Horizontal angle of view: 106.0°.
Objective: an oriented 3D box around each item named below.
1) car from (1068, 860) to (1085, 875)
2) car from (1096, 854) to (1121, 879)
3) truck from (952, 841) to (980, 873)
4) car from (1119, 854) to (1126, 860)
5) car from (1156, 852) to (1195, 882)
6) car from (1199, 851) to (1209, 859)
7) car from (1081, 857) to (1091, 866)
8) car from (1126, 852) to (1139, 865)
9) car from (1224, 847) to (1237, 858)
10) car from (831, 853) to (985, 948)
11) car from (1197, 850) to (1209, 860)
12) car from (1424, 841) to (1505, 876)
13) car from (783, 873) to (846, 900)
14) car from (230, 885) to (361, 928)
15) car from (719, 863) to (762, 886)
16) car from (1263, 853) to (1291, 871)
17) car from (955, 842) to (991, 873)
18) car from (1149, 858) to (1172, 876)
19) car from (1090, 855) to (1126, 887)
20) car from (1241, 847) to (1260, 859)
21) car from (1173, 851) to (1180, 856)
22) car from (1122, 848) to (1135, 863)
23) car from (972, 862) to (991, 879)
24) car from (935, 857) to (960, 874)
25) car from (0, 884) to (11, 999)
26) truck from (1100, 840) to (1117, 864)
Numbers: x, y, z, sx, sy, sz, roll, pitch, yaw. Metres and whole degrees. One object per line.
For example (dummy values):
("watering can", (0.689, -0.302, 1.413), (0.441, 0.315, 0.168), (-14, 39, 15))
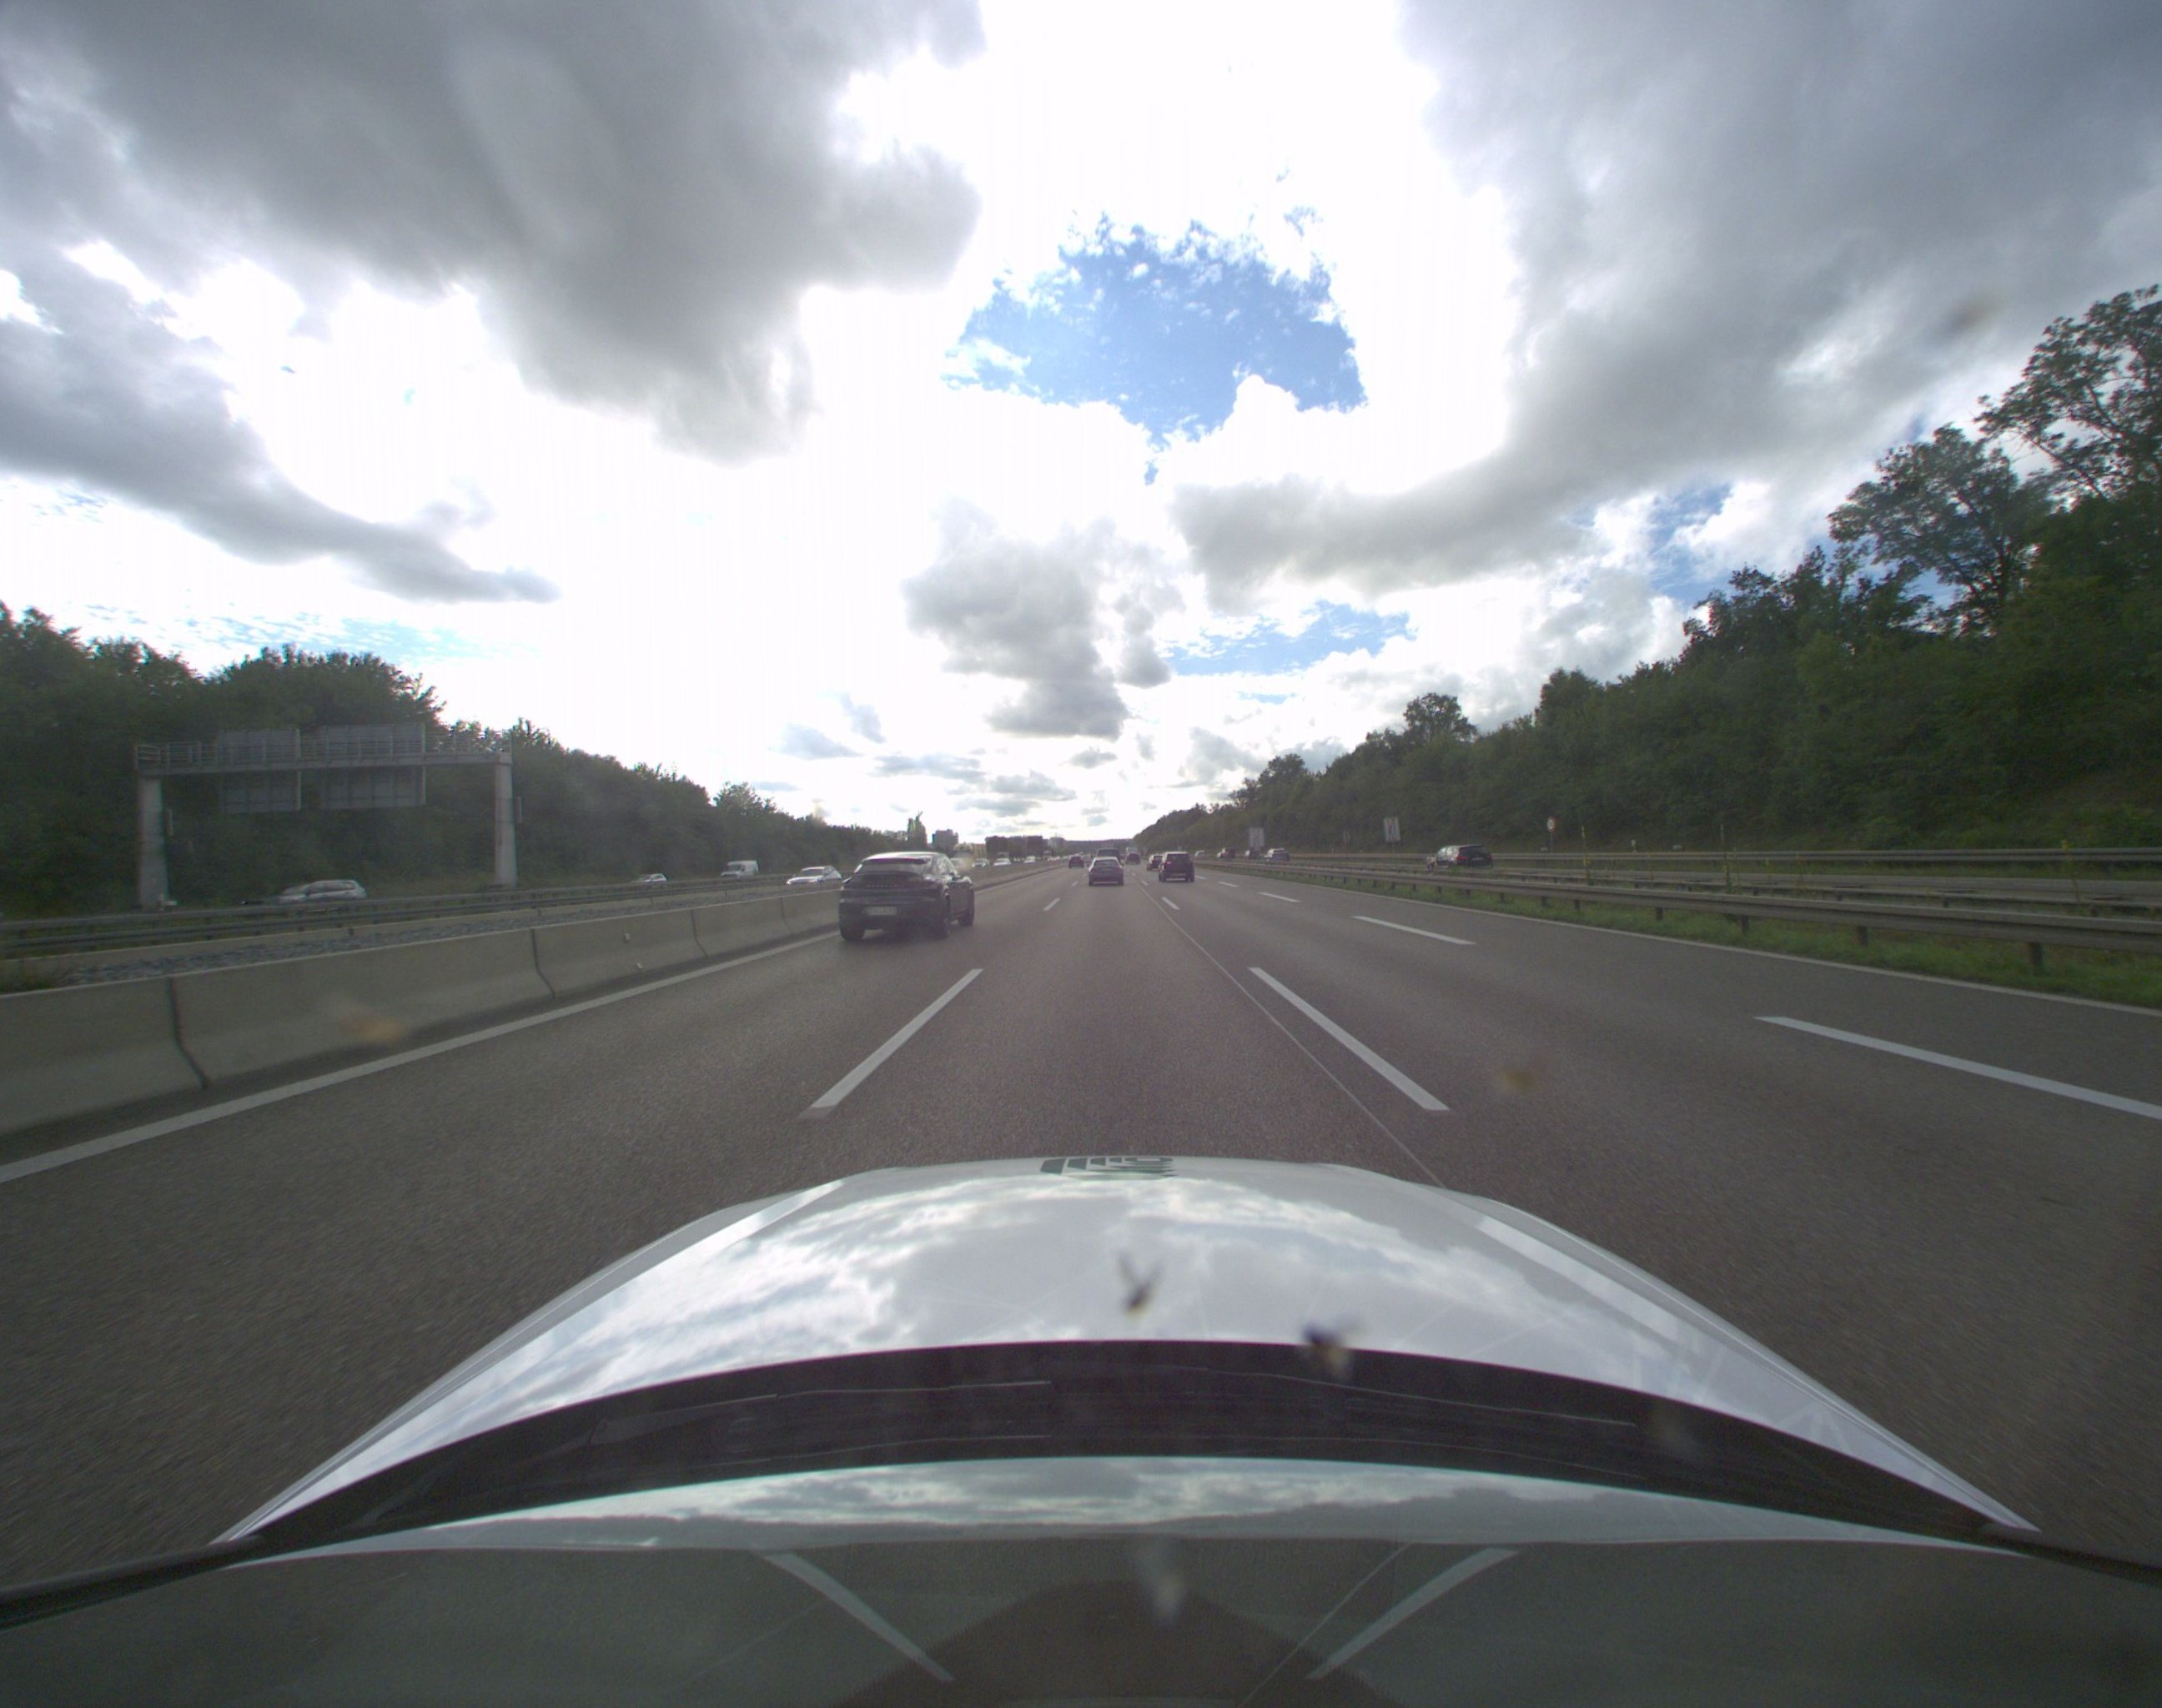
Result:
("car", (-0.529, 1.643, 99.889), (1.866, 1.698, 4.073), (-2, 0, 1))
("car", (2.020, 0.867, 59.740), (1.714, 1.724, 4.393), (-1, 0, 2))
("truck", (-16.406, 0.435, 116.485), (2.885, 4.323, 5.164), (-2, 0, 2))
("car", (11.010, 0.746, 216.495), (1.745, 1.695, 4.192), (-2, 0, 2))
("car", (5.202, 0.696, 45.275), (1.691, 1.564, 4.114), (-2, 0, 1))
("car", (26.957, 0.128, 178.422), (1.745, 1.695, 4.192), (-2, 0, 2))
("car", (0.921, 1.318, 143.246), (1.691, 1.611, 4.114), (-2, 0, 1))
("car", (7.840, 0.733, 124.210), (1.906, 1.919, 4.032), (-1, 0, 1))
("car", (25.589, -0.247, 139.477), (1.590, 1.804, 3.824), (-2, 0, 0))
("car", (-3.395, 0.817, 17.203), (1.905, 1.636, 5.502), (-1, 0, 2))
("car", (22.365, 0.229, 149.294), (1.745, 1.695, 4.192), (-2, 0, 2))
("car", (18.565, 0.176, 39.647), (1.836, 1.484, 4.528), (-4, 0, 2))
("car", (-14.645, 1.761, 45.028), (1.764, 1.294, 4.677), (-1, 0, 1))
("car", (-37.762, 2.482, 39.330), (1.790, 1.727, 4.513), (-2, 0, 1))
("car", (-37.509, 2.194, 89.903), (1.985, 2.234, 5.895), (-2, 0, 3))
("car", (20.110, 0.797, 83.591), (1.840, 1.650, 4.308), (-4, 0, 2))
("car", (-16.210, 0.486, 123.440), (2.895, 4.325, 14.150), (-2, 0, 2))
("car", (7.307, 1.212, 74.919), (1.825, 1.521, 4.226), (-1, 0, 2))
("car", (1.370, 0.849, 42.026), (1.714, 1.479, 4.393), (-1, 0, 2))
("car", (24.310, -0.161, 117.082), (1.723, 1.546, 4.305), (-4, 0, 0))
("car", (28.531, -0.168, 243.088), (1.746, 1.517, 4.190), (-2, 0, 1))
("car", (7.623, 0.167, 131.075), (1.866, 2.357, 4.283), (-1, 0, 2))
("car", (-12.787, 2.090, 104.825), (1.746, 2.013, 4.555), (-1, 0, 2))
("car", (-13.395, 1.110, 82.024), (1.588, 1.611, 4.465), (-1, 0, 1))
("car", (-15.648, 1.223, 8.790), (1.768, 1.561, 4.782), (-2, 0, 1))
("truck", (5.390, -0.389, 159.418), (3.251, 4.375, 11.030), (-1, 0, 2))
